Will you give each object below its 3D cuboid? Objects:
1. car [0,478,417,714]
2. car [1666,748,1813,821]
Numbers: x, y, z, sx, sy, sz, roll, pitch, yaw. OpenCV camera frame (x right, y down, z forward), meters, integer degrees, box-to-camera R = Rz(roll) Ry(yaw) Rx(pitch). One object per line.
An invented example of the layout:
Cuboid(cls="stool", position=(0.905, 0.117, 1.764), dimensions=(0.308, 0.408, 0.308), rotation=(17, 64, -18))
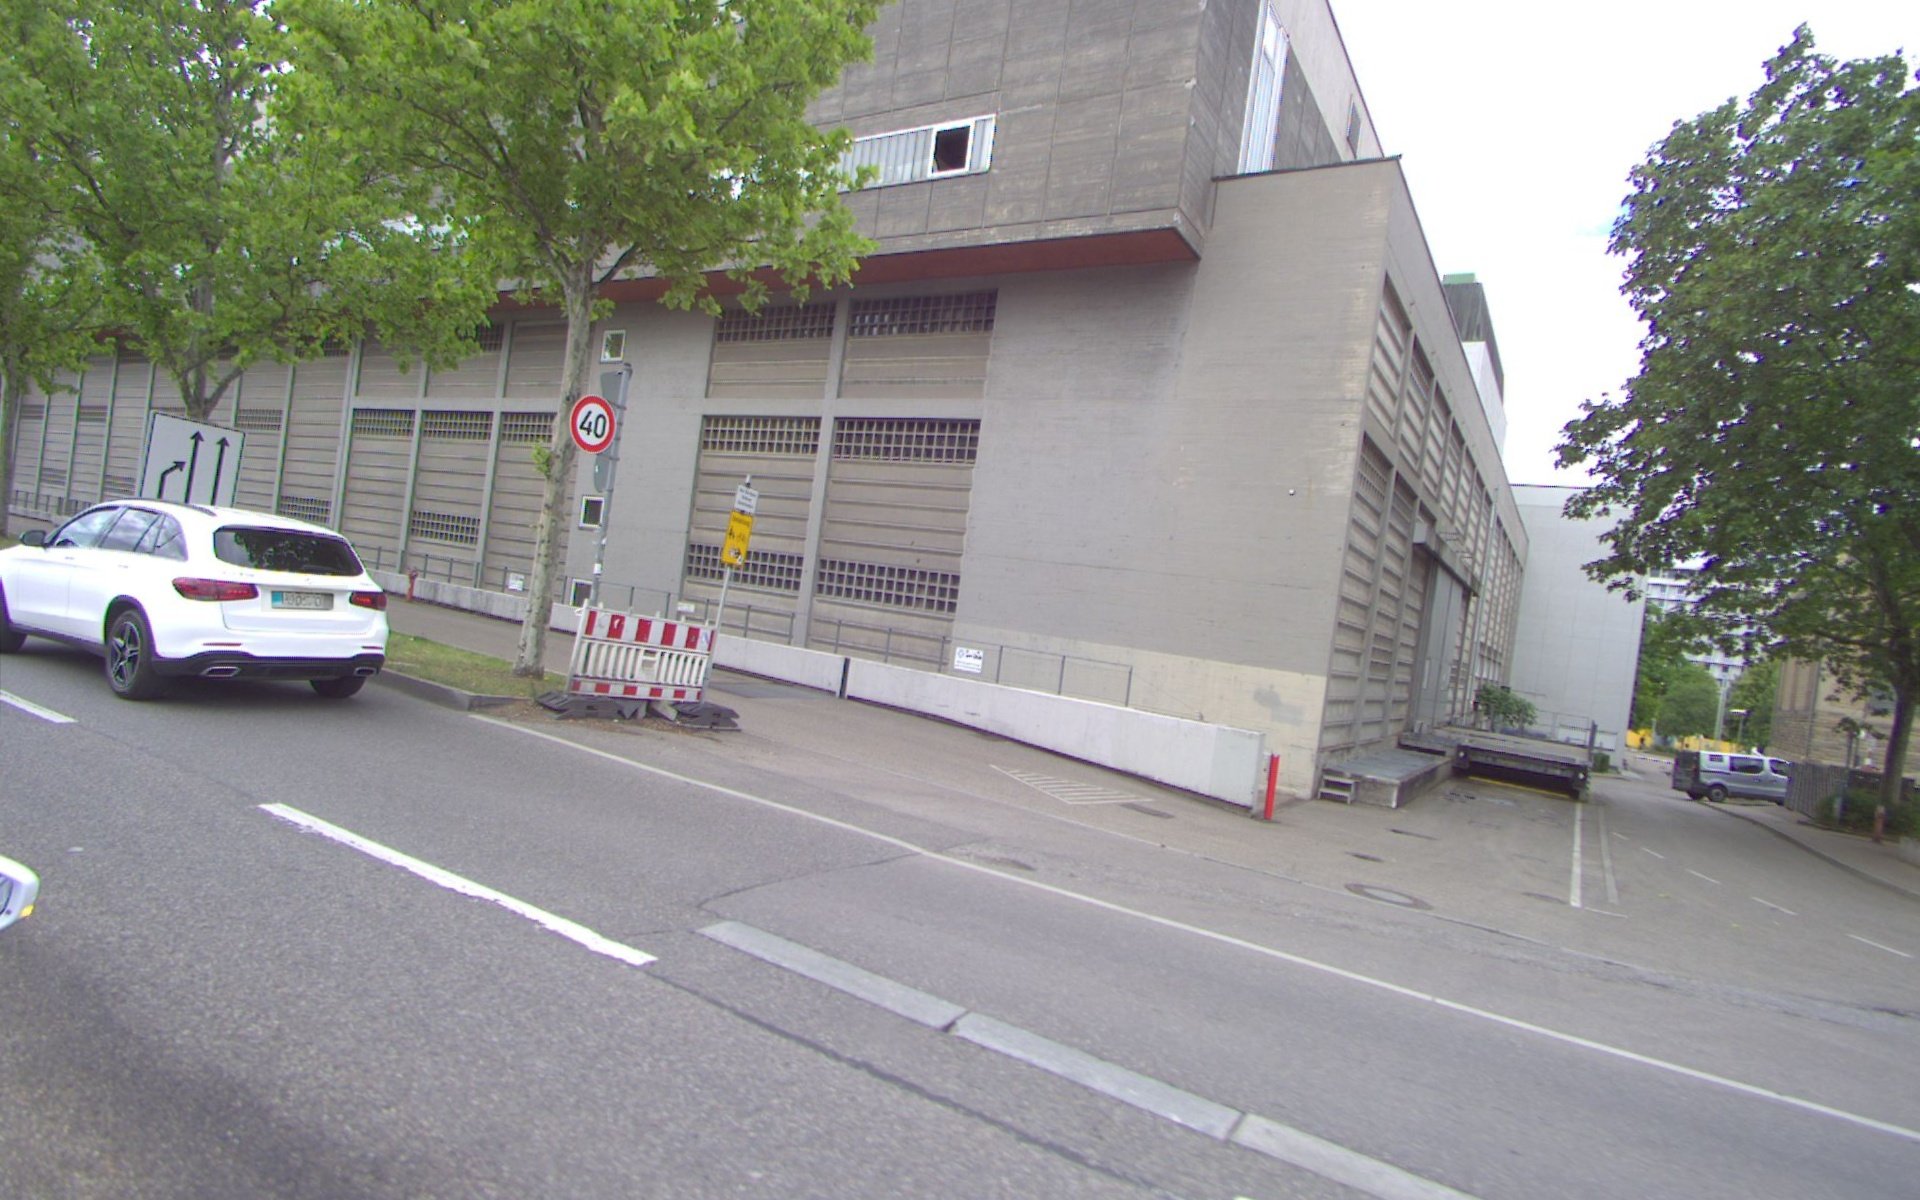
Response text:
Cuboid(cls="car", position=(-7.464, -0.098, 9.543), dimensions=(4.474, 1.662, 1.816), rotation=(7, -1, 29))
Cuboid(cls="car", position=(30.817, 7.262, 39.892), dimensions=(3.924, 2.036, 2.003), rotation=(8, -2, 13))
